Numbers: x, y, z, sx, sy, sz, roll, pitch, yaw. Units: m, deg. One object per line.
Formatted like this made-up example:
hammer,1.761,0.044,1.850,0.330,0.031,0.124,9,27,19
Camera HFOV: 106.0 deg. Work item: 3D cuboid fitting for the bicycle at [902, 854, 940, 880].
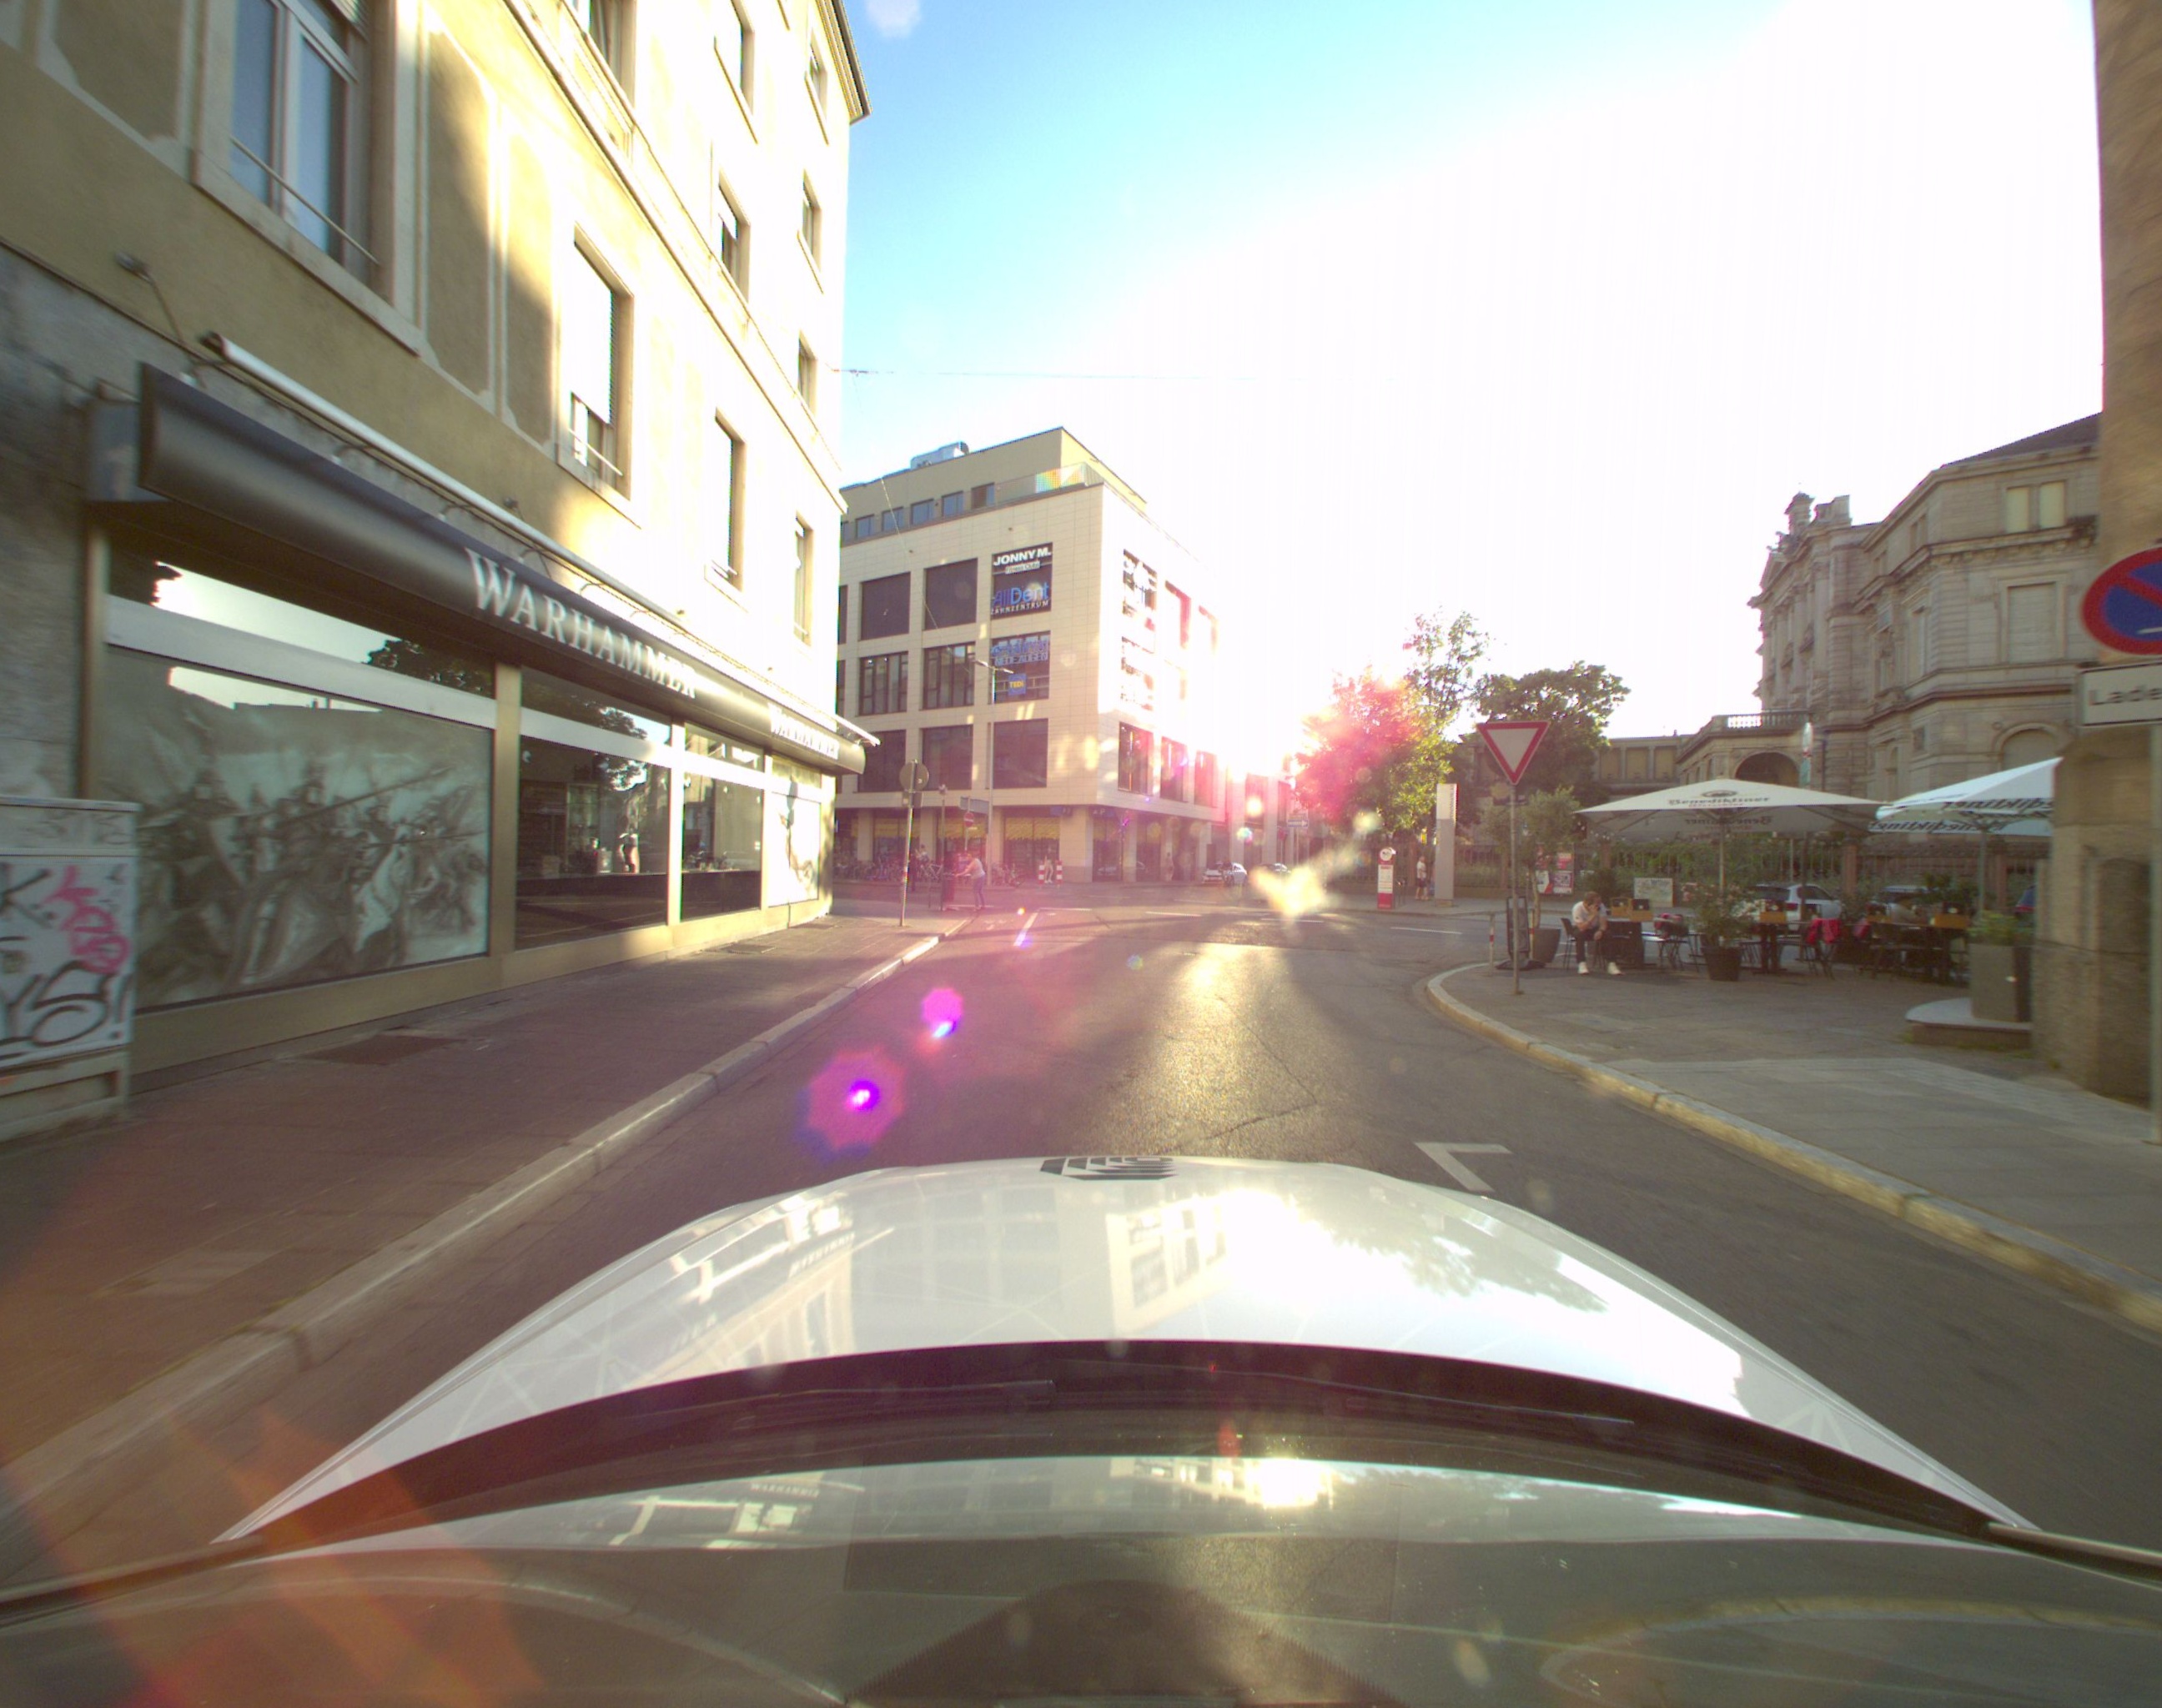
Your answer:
bicycle,-8.215,0.683,41.749,1.954,1.255,0.616,1,-1,29

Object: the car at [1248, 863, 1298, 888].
car,13.347,1.453,56.388,1.865,1.598,4.718,1,0,32

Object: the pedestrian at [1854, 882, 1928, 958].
pedestrian,13.922,1.118,14.004,0.684,1.245,0.599,2,0,-10

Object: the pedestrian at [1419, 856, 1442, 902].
pedestrian,13.053,0.923,30.439,0.698,1.670,0.645,1,1,16

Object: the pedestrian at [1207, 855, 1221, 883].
pedestrian,8.853,1.010,54.194,0.665,1.836,0.651,1,0,28

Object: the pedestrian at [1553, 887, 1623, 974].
pedestrian,7.548,1.118,12.159,0.602,1.188,0.824,1,0,9

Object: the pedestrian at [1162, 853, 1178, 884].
pedestrian,5.122,0.847,46.893,0.665,1.744,0.651,1,-1,30

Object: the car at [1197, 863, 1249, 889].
car,8.526,1.281,48.618,1.761,1.453,4.256,1,0,29

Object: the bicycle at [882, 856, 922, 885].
bicycle,-8.097,0.747,36.909,0.507,1.255,1.991,1,-1,28

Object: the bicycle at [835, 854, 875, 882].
bicycle,-10.589,0.679,38.238,0.507,1.255,1.991,1,-1,28

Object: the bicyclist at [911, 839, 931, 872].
bicyclist,-8.206,0.071,41.738,0.636,1.695,0.688,1,0,30

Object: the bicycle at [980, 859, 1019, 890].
bicycle,-3.400,0.872,34.164,0.575,1.255,2.056,1,-1,26

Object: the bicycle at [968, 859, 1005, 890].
bicycle,-3.984,0.855,34.412,0.507,1.255,1.990,1,-1,26

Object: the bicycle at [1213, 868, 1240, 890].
bicycle,7.977,1.378,44.583,0.657,1.138,1.833,1,-1,36

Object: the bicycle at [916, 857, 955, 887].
bicycle,-6.392,0.791,35.803,0.507,1.255,1.991,1,-1,28

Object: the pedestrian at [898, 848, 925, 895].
pedestrian,-6.070,0.629,29.203,0.871,1.658,0.615,2,-1,-15

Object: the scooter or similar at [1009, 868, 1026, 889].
scooter or similar,-2.760,1.079,35.461,0.383,0.884,0.774,1,-1,28

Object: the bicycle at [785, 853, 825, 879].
bicycle,-13.469,0.600,39.813,0.507,1.255,1.991,1,-1,28

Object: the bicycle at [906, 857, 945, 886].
bicycle,-6.871,0.778,36.104,0.507,1.255,1.991,1,-1,28

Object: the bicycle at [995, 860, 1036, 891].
bicycle,-2.703,0.892,33.858,0.658,1.255,2.153,1,-1,26

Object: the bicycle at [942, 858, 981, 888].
bicycle,-5.145,0.825,35.129,0.507,1.255,1.991,1,-1,28

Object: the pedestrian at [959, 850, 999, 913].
pedestrian,-2.695,0.720,21.468,0.807,1.613,0.727,2,-1,-30

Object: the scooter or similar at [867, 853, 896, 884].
scooter or similar,-8.395,0.616,34.235,0.383,1.260,1.278,1,-1,28

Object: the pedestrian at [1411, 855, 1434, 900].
pedestrian,13.168,0.897,31.429,0.698,1.670,0.645,1,1,16

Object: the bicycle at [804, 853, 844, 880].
bicycle,-12.373,0.631,39.280,0.507,1.255,1.991,1,-1,28

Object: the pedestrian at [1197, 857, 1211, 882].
pedestrian,8.232,1.034,54.513,0.665,1.675,0.651,1,0,28

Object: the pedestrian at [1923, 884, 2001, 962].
pedestrian,14.700,1.139,13.601,0.684,1.245,0.599,2,0,-10

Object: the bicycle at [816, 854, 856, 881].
bicycle,-11.703,0.650,38.975,0.507,1.255,1.991,1,-1,28

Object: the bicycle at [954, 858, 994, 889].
bicycle,-4.534,0.840,34.689,0.507,1.255,1.991,1,-1,30

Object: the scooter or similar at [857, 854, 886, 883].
scooter or similar,-8.870,0.630,34.572,0.383,1.212,1.278,1,-1,28

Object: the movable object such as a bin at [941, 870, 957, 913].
movable object such as a bin,-3.395,0.961,20.967,0.359,1.063,0.355,1,-1,-12

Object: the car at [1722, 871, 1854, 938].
car,19.938,1.347,22.941,3.925,1.446,1.738,-3,2,-32

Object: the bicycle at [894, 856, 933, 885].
bicycle,-7.477,0.762,36.471,0.507,1.255,1.991,1,-1,28

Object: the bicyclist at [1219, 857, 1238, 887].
bicyclist,8.083,0.985,44.693,0.652,1.570,0.868,1,-1,35

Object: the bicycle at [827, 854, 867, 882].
bicycle,-11.101,0.666,38.669,0.507,1.255,1.991,1,-1,28

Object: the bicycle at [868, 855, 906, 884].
bicycle,-8.851,0.725,37.253,0.507,1.255,1.990,1,-1,27

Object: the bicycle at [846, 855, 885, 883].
bicycle,-10.043,0.694,37.986,0.507,1.255,1.991,1,-1,28

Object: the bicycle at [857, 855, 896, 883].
bicycle,-9.402,0.710,37.545,0.507,1.255,1.991,1,-1,28

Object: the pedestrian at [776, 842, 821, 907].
pedestrian,-7.147,0.508,20.644,0.728,1.613,0.807,1,-1,10

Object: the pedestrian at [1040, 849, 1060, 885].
pedestrian,-1.519,0.628,39.865,0.638,1.723,0.838,2,-1,-25

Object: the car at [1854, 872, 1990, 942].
car,22.332,1.333,21.595,4.014,1.525,1.738,-1,1,-32

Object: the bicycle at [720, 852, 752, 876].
bicycle,-19.421,0.556,45.839,1.954,1.255,0.516,2,-1,27

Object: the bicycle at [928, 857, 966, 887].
bicycle,-5.811,0.807,35.531,0.507,1.255,1.990,1,-1,27
